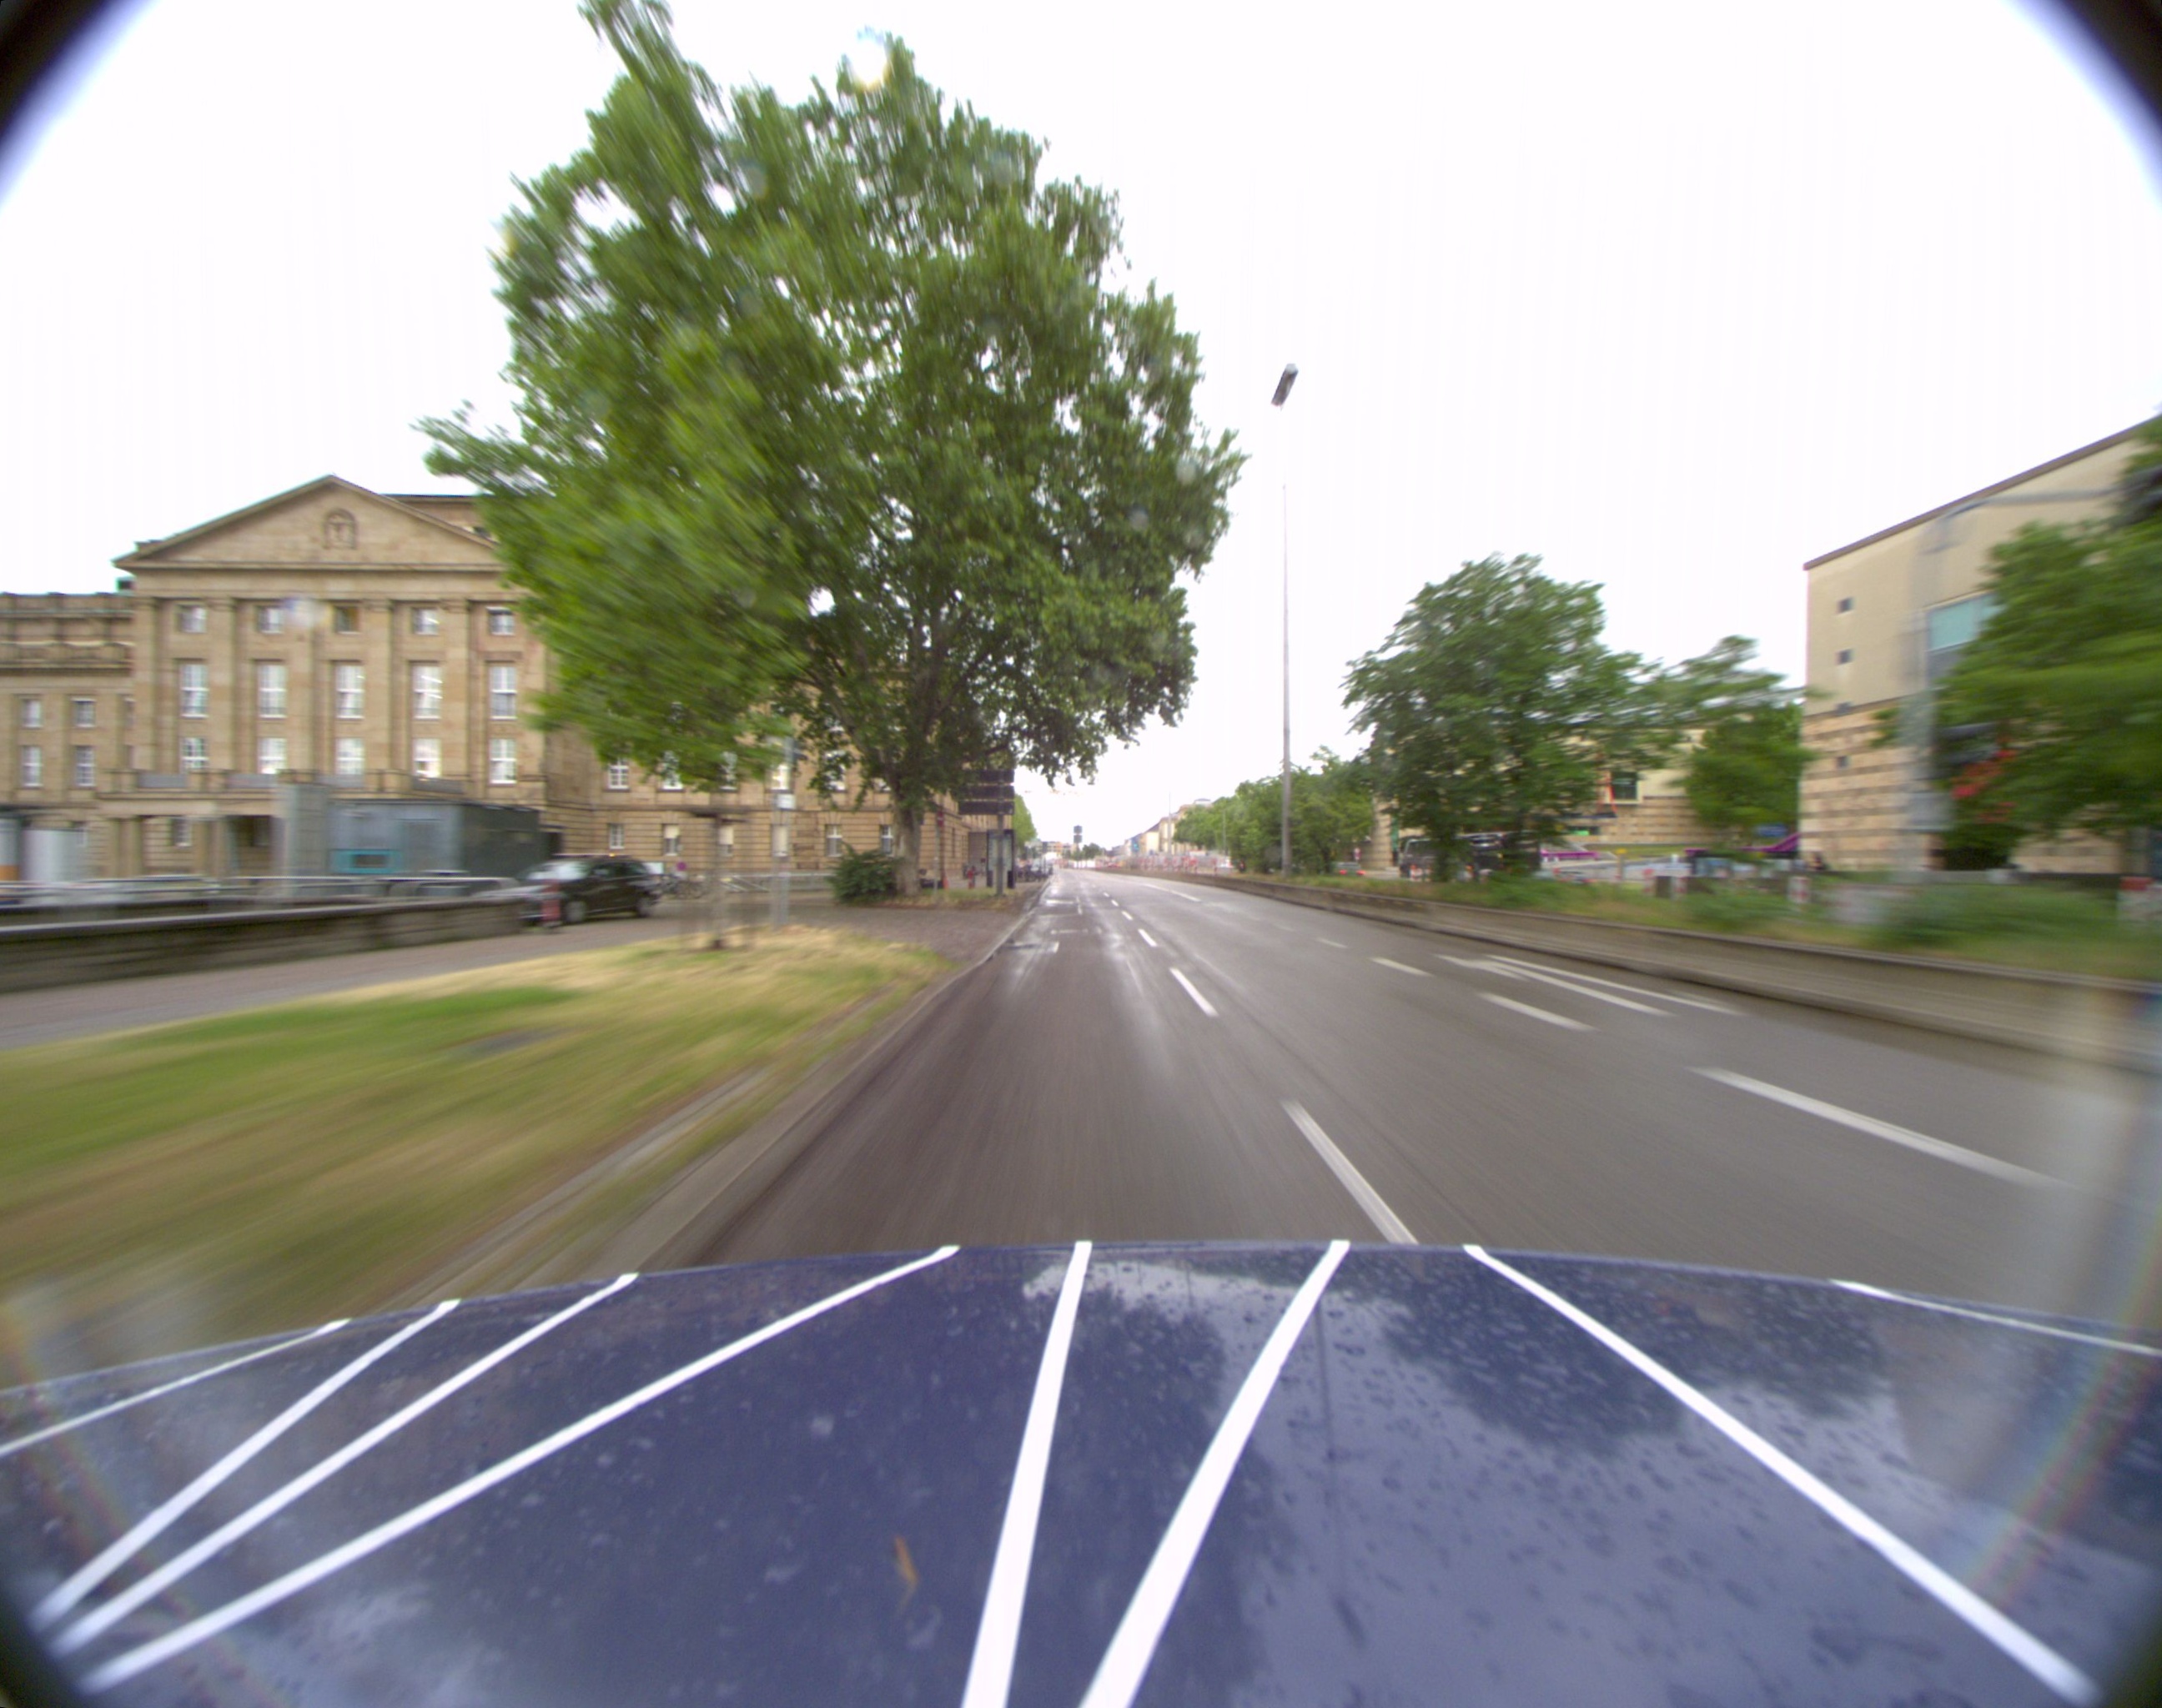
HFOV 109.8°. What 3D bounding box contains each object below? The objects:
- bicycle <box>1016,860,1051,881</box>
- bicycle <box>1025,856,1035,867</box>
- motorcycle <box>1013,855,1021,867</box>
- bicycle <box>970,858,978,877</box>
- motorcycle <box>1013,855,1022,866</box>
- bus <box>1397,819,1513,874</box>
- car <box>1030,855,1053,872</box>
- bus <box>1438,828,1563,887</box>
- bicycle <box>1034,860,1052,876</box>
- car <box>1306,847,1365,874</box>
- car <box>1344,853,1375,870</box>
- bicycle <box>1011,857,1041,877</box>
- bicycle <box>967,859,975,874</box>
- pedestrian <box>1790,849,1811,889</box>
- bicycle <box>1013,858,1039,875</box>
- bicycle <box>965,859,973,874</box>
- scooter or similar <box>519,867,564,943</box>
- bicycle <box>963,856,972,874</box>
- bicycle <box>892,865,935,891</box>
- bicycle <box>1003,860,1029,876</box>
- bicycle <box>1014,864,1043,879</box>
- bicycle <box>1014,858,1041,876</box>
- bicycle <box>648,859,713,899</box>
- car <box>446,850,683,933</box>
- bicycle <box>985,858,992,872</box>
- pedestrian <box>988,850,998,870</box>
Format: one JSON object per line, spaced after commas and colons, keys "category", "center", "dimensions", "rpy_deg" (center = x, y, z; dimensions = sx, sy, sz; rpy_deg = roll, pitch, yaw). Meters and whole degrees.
{"category": "bicycle", "center": [-3.109, 1.073, 49.977], "dimensions": [2.196, 1.328, 0.650], "rpy_deg": [0, 1, 1]}
{"category": "bicycle", "center": [-5.593, 0.791, 82.593], "dimensions": [0.778, 1.211, 1.963], "rpy_deg": [1, 0, -12]}
{"category": "motorcycle", "center": [-7.646, 0.817, 90.644], "dimensions": [0.668, 1.318, 2.135], "rpy_deg": [0, 1, 3]}
{"category": "bicycle", "center": [-8.488, 1.074, 60.434], "dimensions": [0.455, 1.507, 1.599], "rpy_deg": [-2, 0, -2]}
{"category": "motorcycle", "center": [-7.744, 0.805, 92.809], "dimensions": [0.808, 1.291, 1.799], "rpy_deg": [0, 1, 3]}
{"category": "bus", "center": [29.546, -0.532, 61.167], "dimensions": [2.810, 3.789, 14.600], "rpy_deg": [-2, 0, 3]}
{"category": "car", "center": [-3.630, 0.885, 70.143], "dimensions": [1.936, 1.469, 3.702], "rpy_deg": [-1, 1, 0]}
{"category": "bus", "center": [33.546, 0.256, 61.764], "dimensions": [3.126, 4.227, 13.496], "rpy_deg": [-2, 0, 3]}
{"category": "bicycle", "center": [-2.448, 0.881, 48.960], "dimensions": [0.670, 0.962, 1.639], "rpy_deg": [0, 0, 15]}
{"category": "car", "center": [15.595, 0.401, 46.782], "dimensions": [1.999, 1.586, 3.998], "rpy_deg": [0, 0, -5]}
{"category": "car", "center": [26.002, 0.716, 71.062], "dimensions": [1.596, 1.492, 3.213], "rpy_deg": [-1, 0, -3]}
{"category": "bicycle", "center": [-3.644, 0.872, 50.670], "dimensions": [1.910, 1.325, 0.650], "rpy_deg": [-1, 1, 1]}
{"category": "bicycle", "center": [-8.274, 0.909, 57.383], "dimensions": [0.353, 1.074, 1.789], "rpy_deg": [-1, 1, -1]}
{"category": "pedestrian", "center": [37.245, 0.775, 39.329], "dimensions": [0.479, 2.002, 0.512], "rpy_deg": [1, 1, 0]}
{"category": "bicycle", "center": [-3.684, 0.850, 51.224], "dimensions": [1.683, 1.084, 0.650], "rpy_deg": [-1, 1, 1]}
{"category": "bicycle", "center": [-8.210, 0.895, 55.766], "dimensions": [0.353, 1.074, 1.789], "rpy_deg": [1, 1, -1]}
{"category": "scooter or similar", "center": [-9.470, 0.861, 13.358], "dimensions": [0.544, 1.248, 1.433], "rpy_deg": [1, 0, -32]}
{"category": "bicycle", "center": [-8.469, 0.815, 56.641], "dimensions": [0.455, 1.243, 1.599], "rpy_deg": [-2, 0, -2]}
{"category": "bicycle", "center": [-7.154, 1.033, 32.540], "dimensions": [1.644, 1.014, 0.575], "rpy_deg": [-2, 1, 4]}
{"category": "bicycle", "center": [-4.222, 0.925, 49.187], "dimensions": [1.593, 0.988, 0.525], "rpy_deg": [-1, 1, 1]}
{"category": "bicycle", "center": [-3.660, 1.207, 52.816], "dimensions": [1.991, 1.054, 0.759], "rpy_deg": [-1, 1, -4]}
{"category": "bicycle", "center": [-3.522, 0.862, 49.929], "dimensions": [1.683, 1.116, 0.601], "rpy_deg": [-1, 0, 1]}
{"category": "bicycle", "center": [-17.141, 1.058, 32.559], "dimensions": [2.322, 1.657, 0.774], "rpy_deg": [-1, 2, -6]}
{"category": "car", "center": [-11.516, 0.794, 17.543], "dimensions": [1.999, 1.600, 5.236], "rpy_deg": [-1, -1, -1]}
{"category": "bicycle", "center": [-8.150, 0.962, 67.195], "dimensions": [0.465, 1.208, 1.691], "rpy_deg": [-1, 1, -3]}
{"category": "pedestrian", "center": [-8.138, 0.578, 70.091], "dimensions": [0.797, 1.767, 0.642], "rpy_deg": [3, 1, -1]}
